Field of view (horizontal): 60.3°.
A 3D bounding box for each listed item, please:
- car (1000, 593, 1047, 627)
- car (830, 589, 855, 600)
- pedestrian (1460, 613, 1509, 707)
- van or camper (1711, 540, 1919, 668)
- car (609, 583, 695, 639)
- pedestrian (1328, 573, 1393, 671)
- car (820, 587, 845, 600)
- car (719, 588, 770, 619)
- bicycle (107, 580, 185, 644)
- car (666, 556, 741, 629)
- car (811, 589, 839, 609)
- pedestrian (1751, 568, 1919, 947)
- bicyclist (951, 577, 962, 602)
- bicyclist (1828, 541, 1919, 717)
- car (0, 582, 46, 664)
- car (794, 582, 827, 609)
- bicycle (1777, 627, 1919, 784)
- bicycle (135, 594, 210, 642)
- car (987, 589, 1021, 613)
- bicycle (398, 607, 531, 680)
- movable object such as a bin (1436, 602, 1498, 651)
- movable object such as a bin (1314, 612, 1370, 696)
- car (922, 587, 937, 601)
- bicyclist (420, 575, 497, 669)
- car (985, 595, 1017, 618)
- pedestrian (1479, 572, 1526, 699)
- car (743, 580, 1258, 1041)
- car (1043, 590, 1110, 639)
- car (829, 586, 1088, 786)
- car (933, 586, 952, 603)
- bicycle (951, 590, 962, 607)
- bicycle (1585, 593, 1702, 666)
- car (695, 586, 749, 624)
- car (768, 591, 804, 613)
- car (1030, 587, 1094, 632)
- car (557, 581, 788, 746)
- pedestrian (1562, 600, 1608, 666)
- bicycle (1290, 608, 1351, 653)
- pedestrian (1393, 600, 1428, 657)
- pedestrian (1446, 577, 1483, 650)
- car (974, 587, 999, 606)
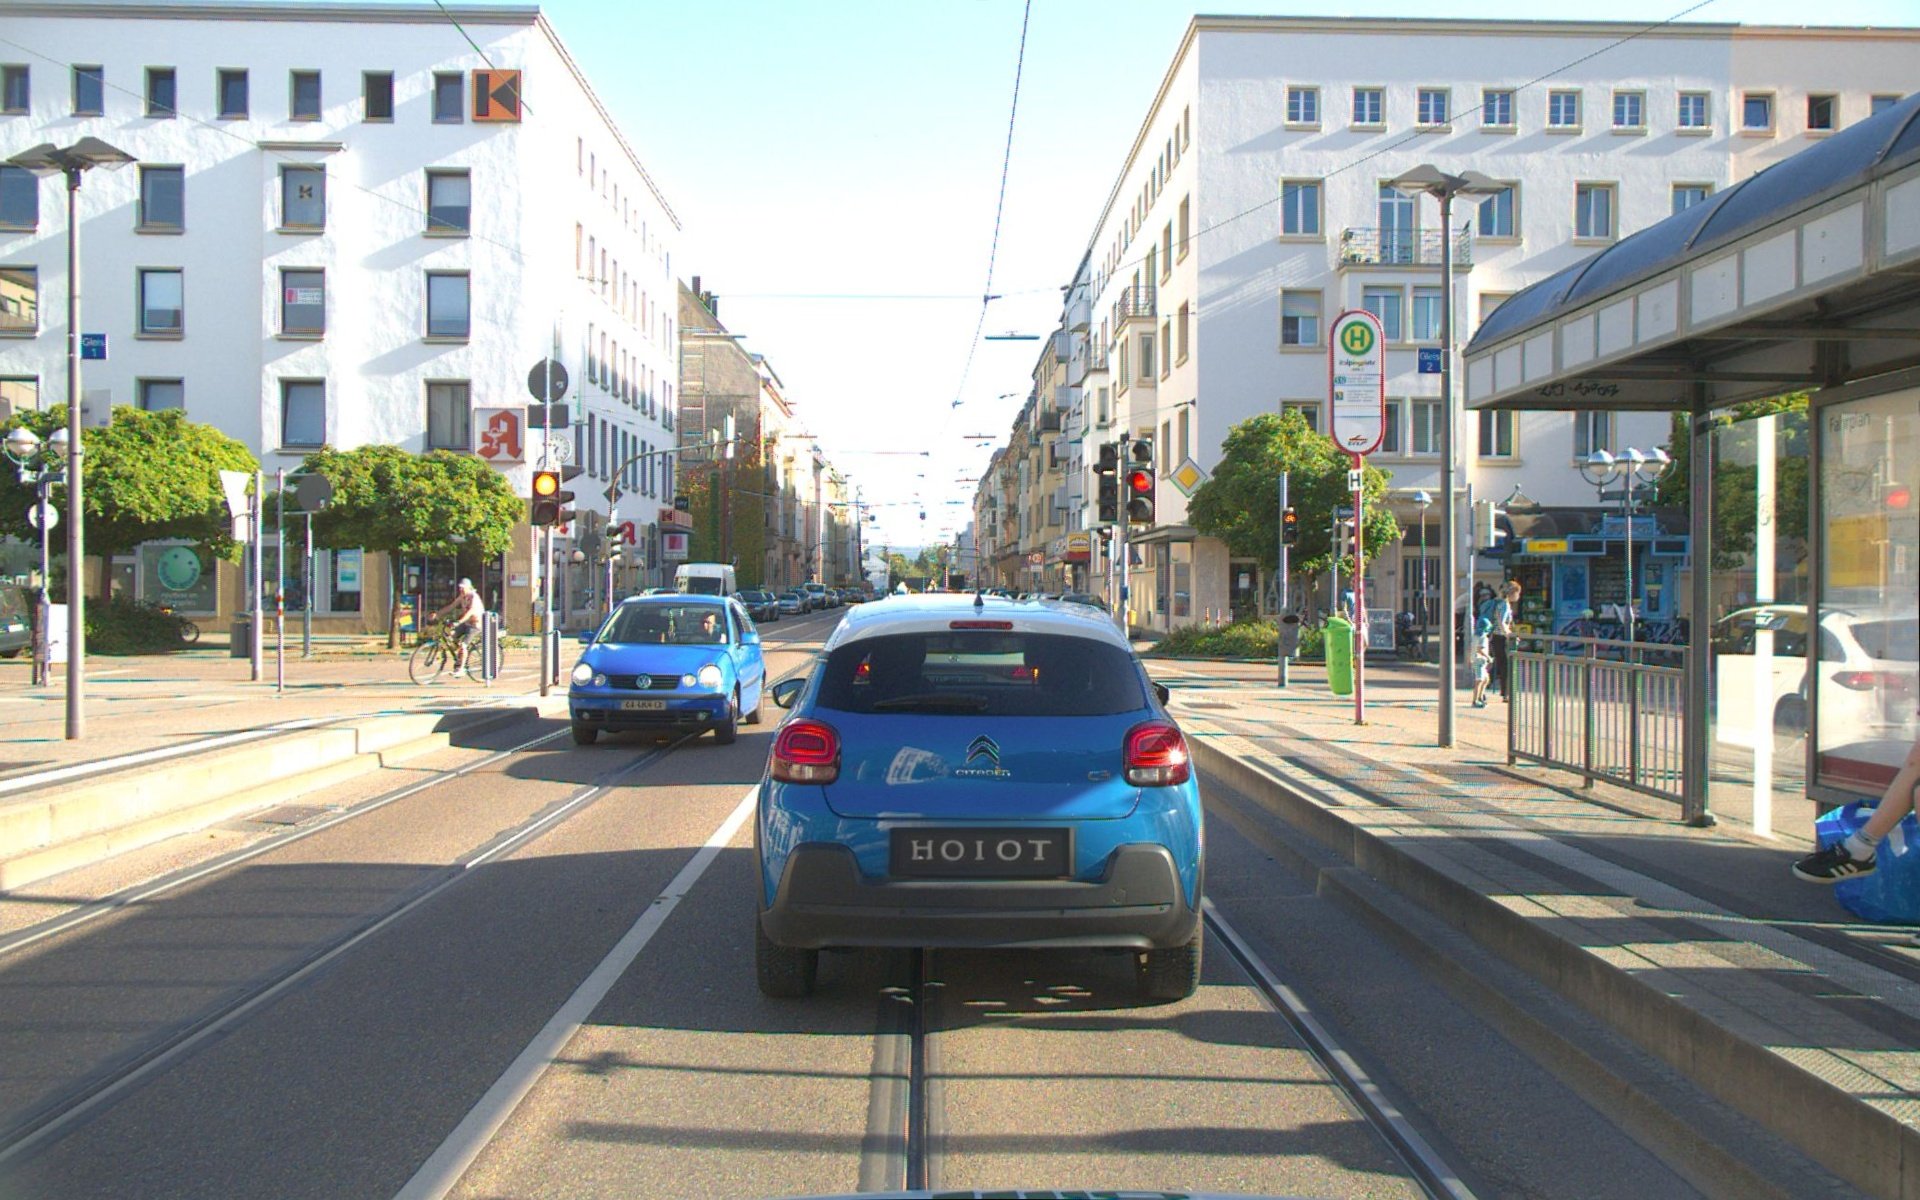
[{"bbox_3d":[2.802,0.432,73.858,1.953,1.489,4.000,0,0,0],"label":"car"},{"bbox_3d":[-13.153,-0.628,185.234,1.951,1.176,4.518,0,0,8],"label":"car"},{"bbox_3d":[7.071,0.799,22.314,0.546,1.247,0.527,1,-1,10],"label":"pedestrian"},{"bbox_3d":[20.981,0.057,37.303,6.976,2.795,2.371,0,2,0],"label":"van or camper"},{"bbox_3d":[-9.784,0.347,52.854,1.953,1.596,4.401,3,0,-2],"label":"car"},{"bbox_3d":[8.009,0.433,33.142,0.961,1.910,1.128,1,-1,-3],"label":"pedestrian"},{"bbox_3d":[-11.627,-0.617,151.031,1.953,1.176,4.000,0,0,0],"label":"car"},{"bbox_3d":[-10.213,0.169,78.651,1.953,1.422,4.155,1,0,-2],"label":"car"},{"bbox_3d":[-21.332,0.297,43.389,0.605,1.635,2.621,0,0,3],"label":"bicycle"},{"bbox_3d":[-9.725,-0.289,63.217,2.043,2.586,6.203,1,0,-2],"label":"car"},{"bbox_3d":[-11.160,-0.075,137.054,1.914,1.579,3.939,1,0,1],"label":"car"},{"bbox_3d":[3.578,0.546,5.938,0.978,1.246,0.923,3,0,-1],"label":"pedestrian"},{"bbox_3d":[-0.281,-0.835,135.619,0.793,2.049,0.922,1,-1,-1],"label":"bicyclist"},{"bbox_3d":[7.147,0.213,12.178,0.936,1.247,0.929,2,0,-19],"label":"bicyclist"},{"bbox_3d":[-22.388,0.478,36.029,3.906,1.736,1.825,0,0,-1],"label":"car"},{"bbox_3d":[-11.497,-0.324,127.368,1.965,2.049,4.690,1,0,1],"label":"car"},{"bbox_3d":[7.160,0.785,12.097,0.707,1.080,2.312,2,0,-17],"label":"bicycle"},{"bbox_3d":[-20.623,0.457,43.376,0.605,1.211,2.621,0,0,2],"label":"bicycle"},{"bbox_3d":[2.701,0.045,102.723,1.953,1.489,4.504,0,0,0],"label":"car"},{"bbox_3d":[-7.986,0.684,26.709,0.718,1.132,1.964,0,0,43],"label":"bicycle"},{"bbox_3d":[12.567,0.652,41.017,1.174,1.173,1.217,0,0,0],"label":"movable object such as a bin"},{"bbox_3d":[3.729,0.521,16.160,0.439,0.800,0.489,0,0,2],"label":"movable object such as a bin"},{"bbox_3d":[-4.043,-0.829,219.393,1.953,1.809,3.999,0,0,-2],"label":"car"},{"bbox_3d":[-8.068,0.352,26.619,0.816,1.481,0.871,1,-1,43],"label":"bicyclist"},{"bbox_3d":[2.716,0.404,110.223,1.953,1.489,4.000,0,0,0],"label":"car"},{"bbox_3d":[7.756,0.501,23.670,0.546,1.775,0.527,1,-1,10],"label":"pedestrian"},{"bbox_3d":[0.108,0.697,7.439,1.693,1.508,3.826,1,0,-1],"label":"car"},{"bbox_3d":[3.696,0.436,53.019,1.870,1.489,4.000,0,0,0],"label":"car"},{"bbox_3d":[-0.049,0.648,15.024,1.944,1.490,4.814,1,0,-1],"label":"car"},{"bbox_3d":[-1.890,-0.591,176.529,1.953,1.803,3.999,0,0,-1],"label":"car"},{"bbox_3d":[-0.276,-0.110,135.556,0.901,1.413,3.131,0,0,-1],"label":"bicycle"},{"bbox_3d":[15.509,0.671,37.569,2.336,1.558,0.726,2,0,-2],"label":"bicycle"},{"bbox_3d":[-10.034,0.203,69.965,1.850,1.522,3.560,1,0,-2],"label":"car"},{"bbox_3d":[-10.884,0.124,103.838,1.953,1.348,3.921,1,0,-2],"label":"car"},{"bbox_3d":[3.505,0.314,57.501,1.953,1.489,4.000,0,0,0],"label":"car"},{"bbox_3d":[-2.902,0.582,17.481,1.632,1.513,4.001,1,0,1],"label":"car"},{"bbox_3d":[14.259,0.741,37.750,0.715,1.434,0.755,0,3,-1],"label":"pedestrian"},{"bbox_3d":[9.430,0.795,43.336,1.534,1.140,0.300,1,-1,10],"label":"bicycle"},{"bbox_3d":[10.862,0.676,39.858,0.725,1.339,0.628,0,0,22],"label":"pedestrian"},{"bbox_3d":[13.185,0.346,43.251,0.768,1.871,0.678,0,0,2],"label":"pedestrian"},{"bbox_3d":[2.129,-0.282,133.884,1.953,1.489,4.000,0,0,0],"label":"car"}]
